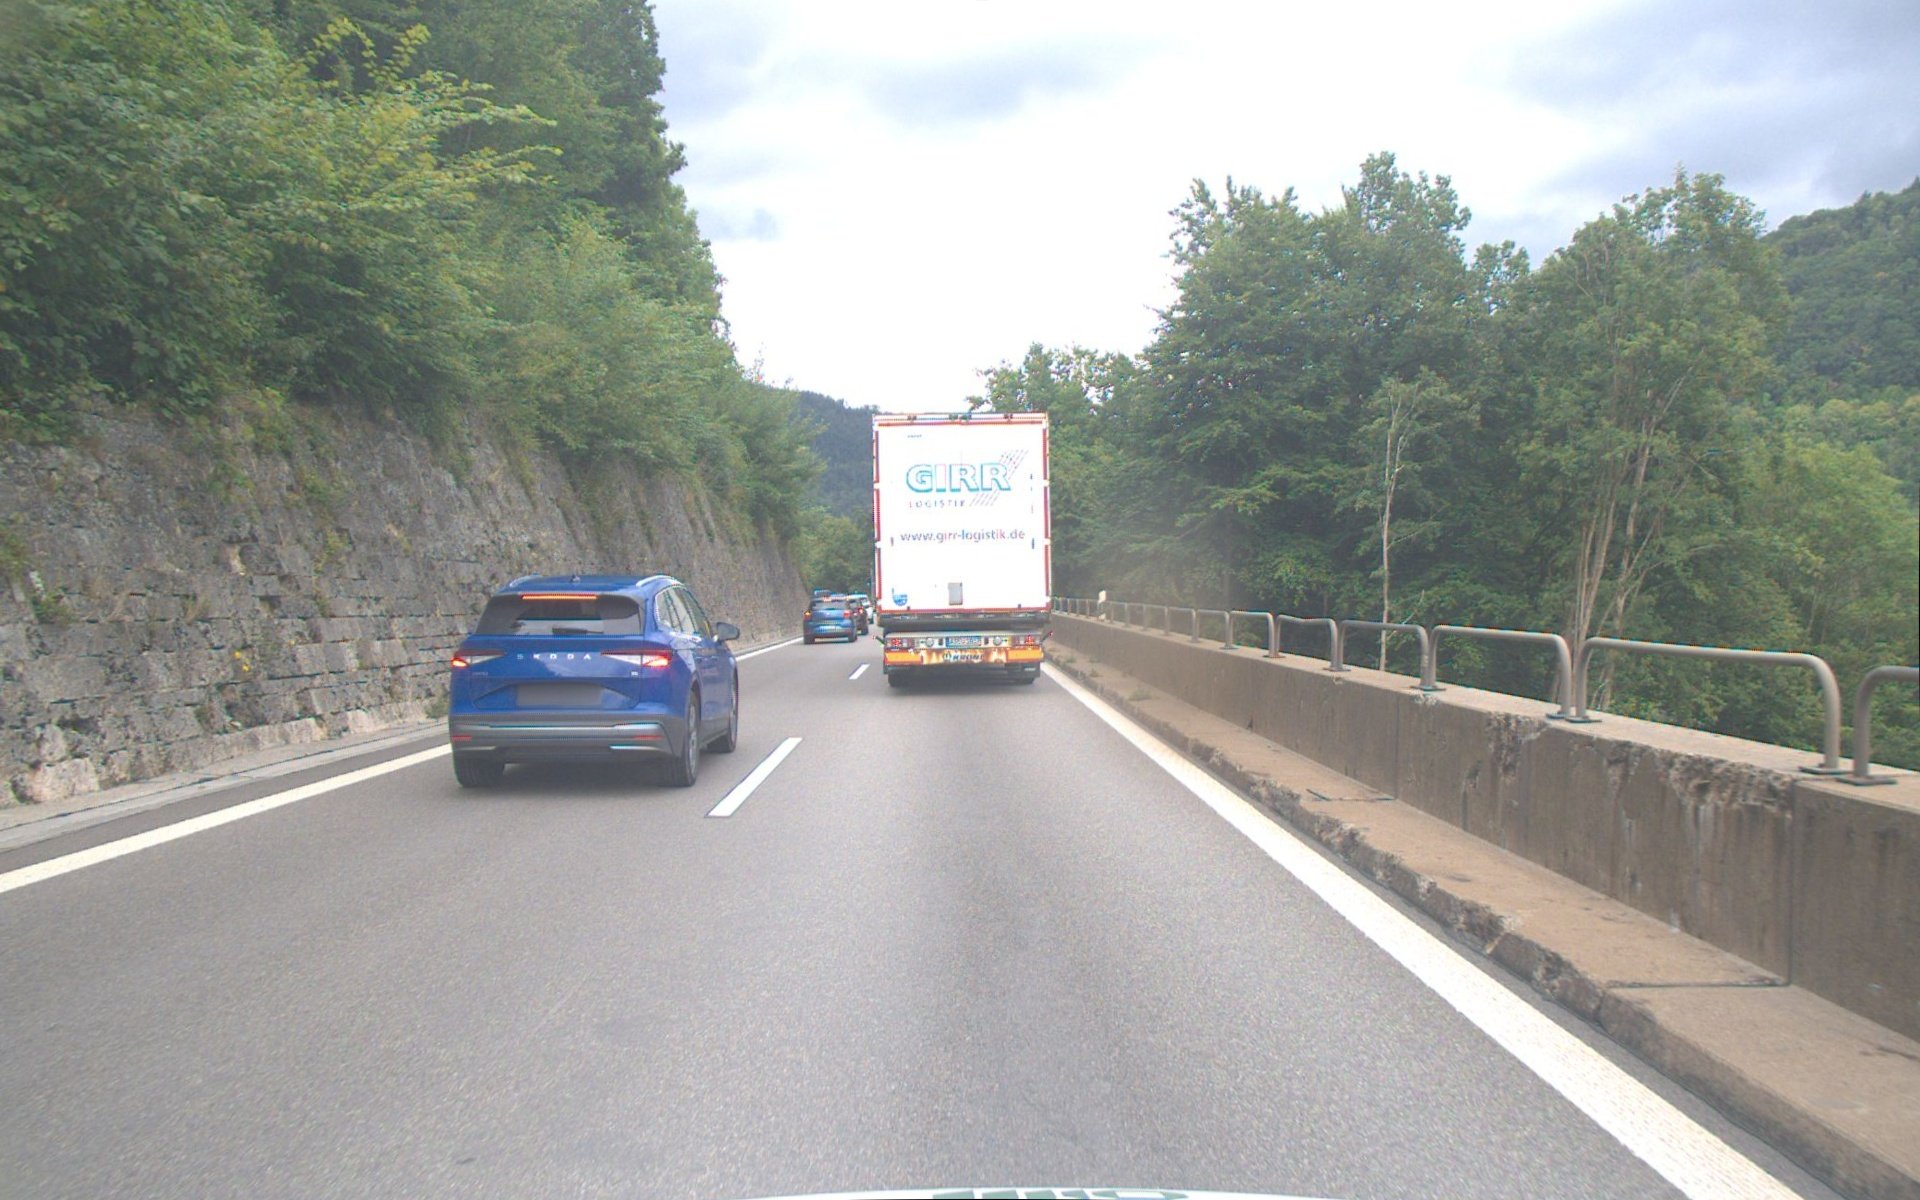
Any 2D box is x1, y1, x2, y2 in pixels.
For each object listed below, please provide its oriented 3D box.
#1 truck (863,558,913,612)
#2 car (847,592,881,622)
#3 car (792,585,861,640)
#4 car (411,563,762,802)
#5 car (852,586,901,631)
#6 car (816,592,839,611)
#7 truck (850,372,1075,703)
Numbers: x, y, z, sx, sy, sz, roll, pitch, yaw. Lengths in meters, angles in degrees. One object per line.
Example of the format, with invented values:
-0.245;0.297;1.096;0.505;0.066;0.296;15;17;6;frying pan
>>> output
-5.794;-1.174;130.846;2.585;3.925;12.336;2;0;-8;truck
-5.200;0.405;90.017;1.710;1.512;3.998;3;-1;-3;car
-4.304;0.431;53.871;1.954;1.624;4.351;-3;-1;-2;car
-2.934;0.573;14.175;1.953;1.660;5.007;-1;0;-1;car
-3.158;0.317;63.254;1.710;1.614;3.999;2;0;-2;car
-12.409;0.128;154.302;1.714;1.614;3.990;3;-1;-10;car
-0.130;-0.910;30.844;3.022;4.542;15.151;2;0;-1;truck
